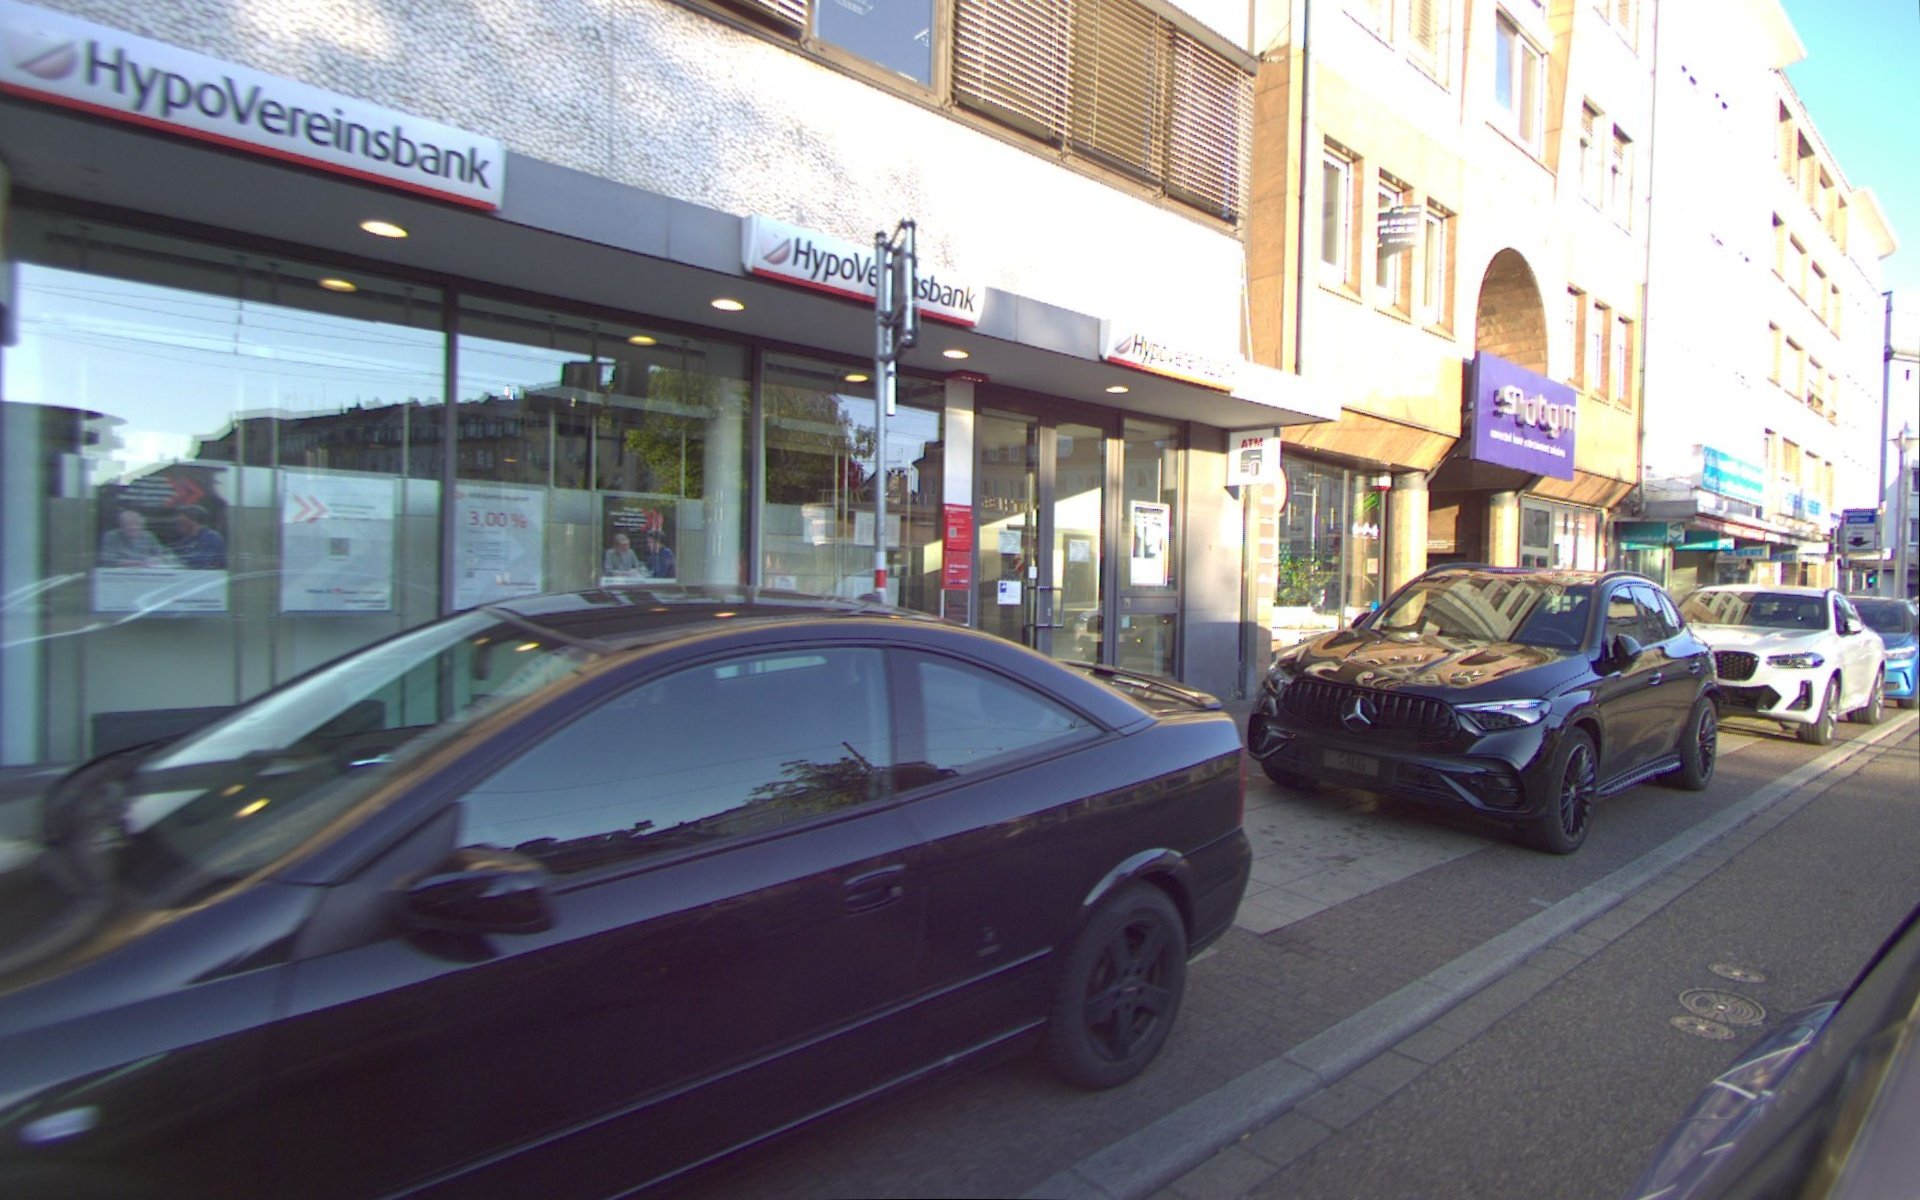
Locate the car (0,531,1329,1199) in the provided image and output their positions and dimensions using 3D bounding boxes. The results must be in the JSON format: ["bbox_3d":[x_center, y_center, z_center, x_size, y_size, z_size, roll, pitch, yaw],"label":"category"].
[{"bbox_3d":[-0.894,0.599,2.798,4.265,1.396,1.659,0,5,-41],"label":"car"}]

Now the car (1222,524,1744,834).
[{"bbox_3d":[3.955,0.415,7.254,4.498,1.558,1.779,2,1,-41],"label":"car"}]

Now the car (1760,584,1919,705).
[{"bbox_3d":[14.006,0.575,15.603,4.753,1.571,1.812,0,2,-42],"label":"car"}]

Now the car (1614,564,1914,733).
[{"bbox_3d":[9.486,0.433,11.795,4.639,1.605,1.820,0,1,-40],"label":"car"}]

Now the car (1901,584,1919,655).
[{"bbox_3d":[24.249,0.467,24.465,4.213,1.625,1.768,0,2,-41],"label":"car"}]

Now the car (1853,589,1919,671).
[{"bbox_3d":[19.709,0.561,20.692,4.082,1.452,1.733,-2,3,-42],"label":"car"}]
